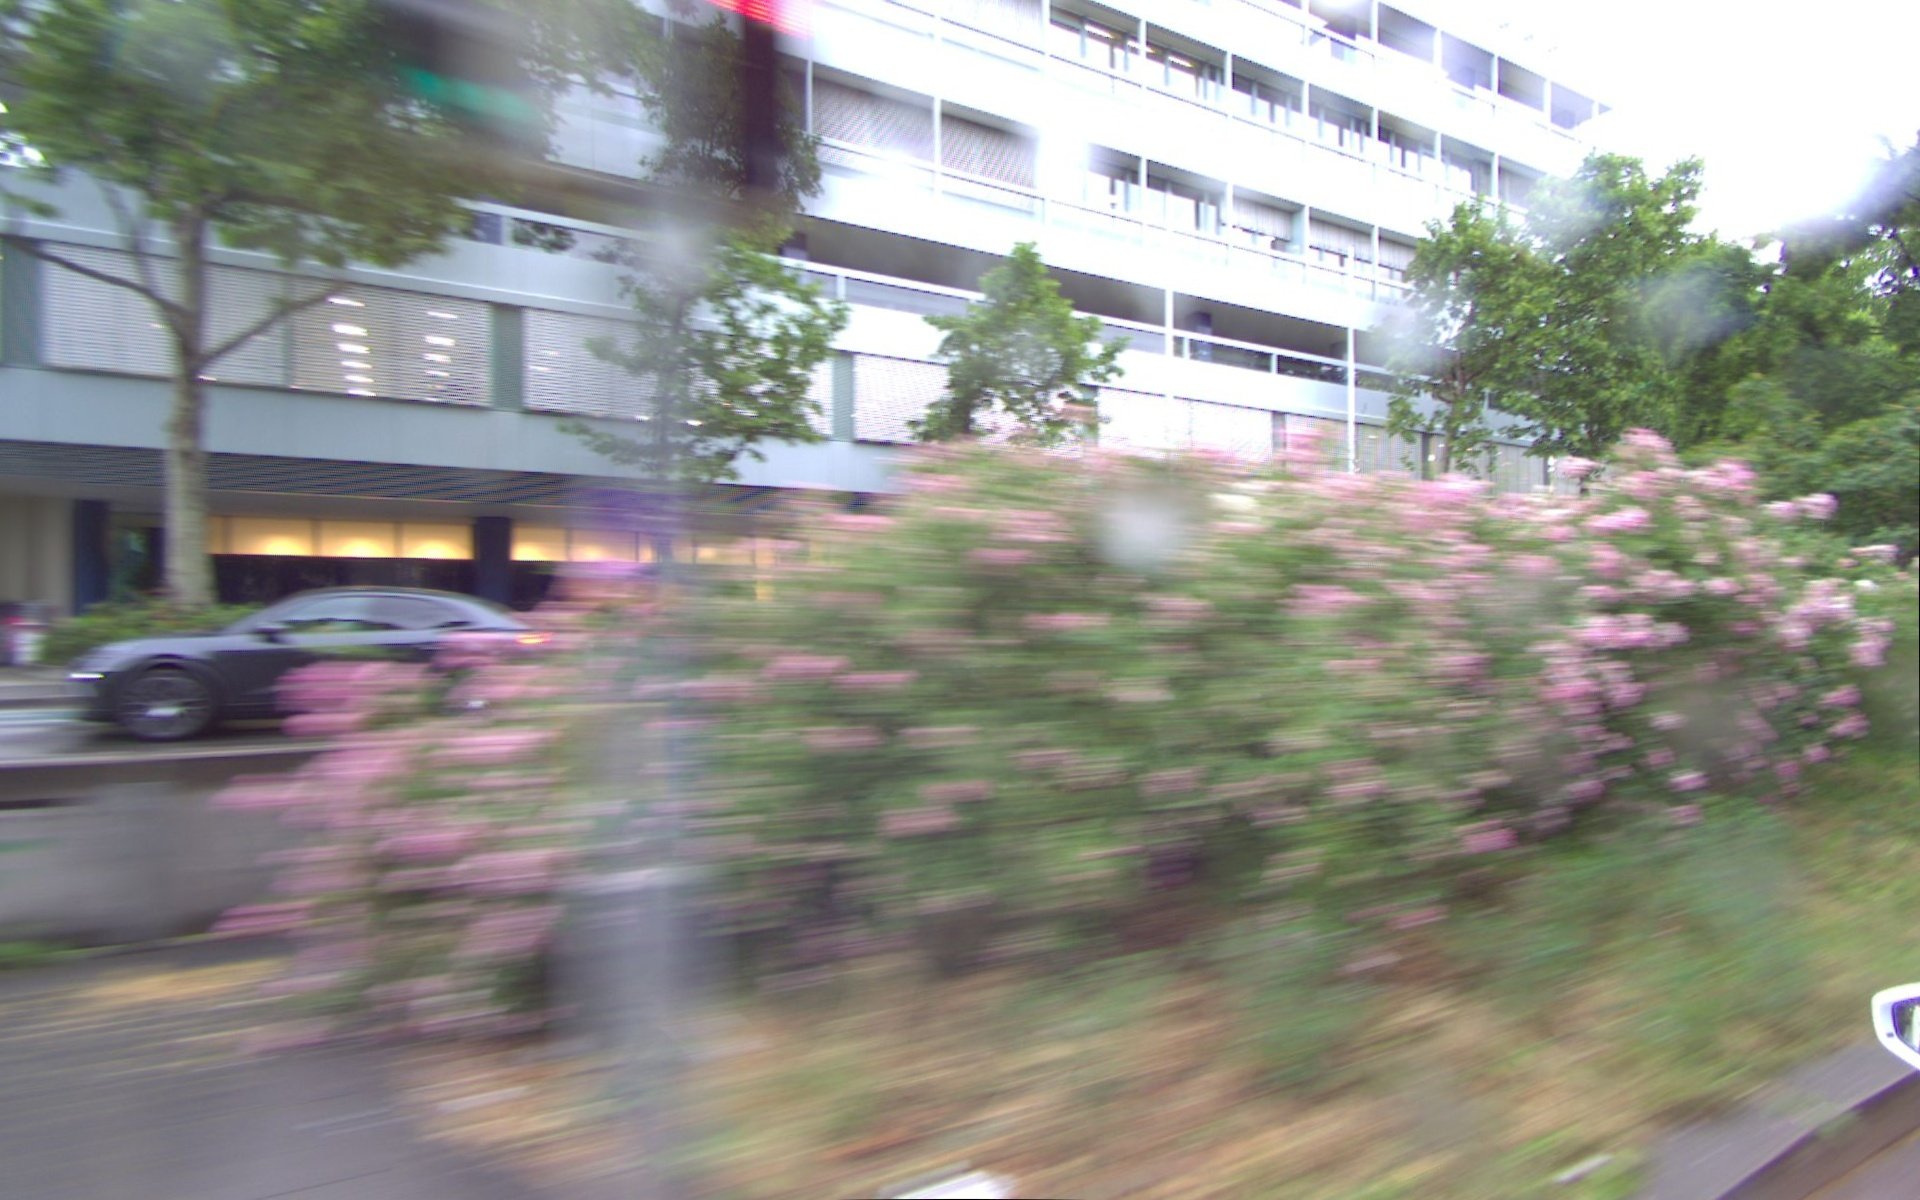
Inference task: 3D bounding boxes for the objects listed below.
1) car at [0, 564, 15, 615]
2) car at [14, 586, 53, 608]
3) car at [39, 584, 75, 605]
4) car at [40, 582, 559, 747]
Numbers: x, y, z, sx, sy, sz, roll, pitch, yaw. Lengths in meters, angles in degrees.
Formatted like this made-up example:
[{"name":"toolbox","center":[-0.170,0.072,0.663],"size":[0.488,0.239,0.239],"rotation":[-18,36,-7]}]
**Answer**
[{"name":"car","center":[-44.895,-0.498,45.241],"size":[2.227,2.354,6.701],"rotation":[2,0,-33]},{"name":"car","center":[-52.494,-0.161,56.913],"size":[1.243,1.148,2.592],"rotation":[2,0,-35]},{"name":"car","center":[-55.306,-0.351,61.561],"size":[1.275,1.148,2.655],"rotation":[2,0,-35]},{"name":"car","center":[-7.286,0.690,11.728],"size":[4.685,1.605,1.903],"rotation":[2,0,-27]}]
